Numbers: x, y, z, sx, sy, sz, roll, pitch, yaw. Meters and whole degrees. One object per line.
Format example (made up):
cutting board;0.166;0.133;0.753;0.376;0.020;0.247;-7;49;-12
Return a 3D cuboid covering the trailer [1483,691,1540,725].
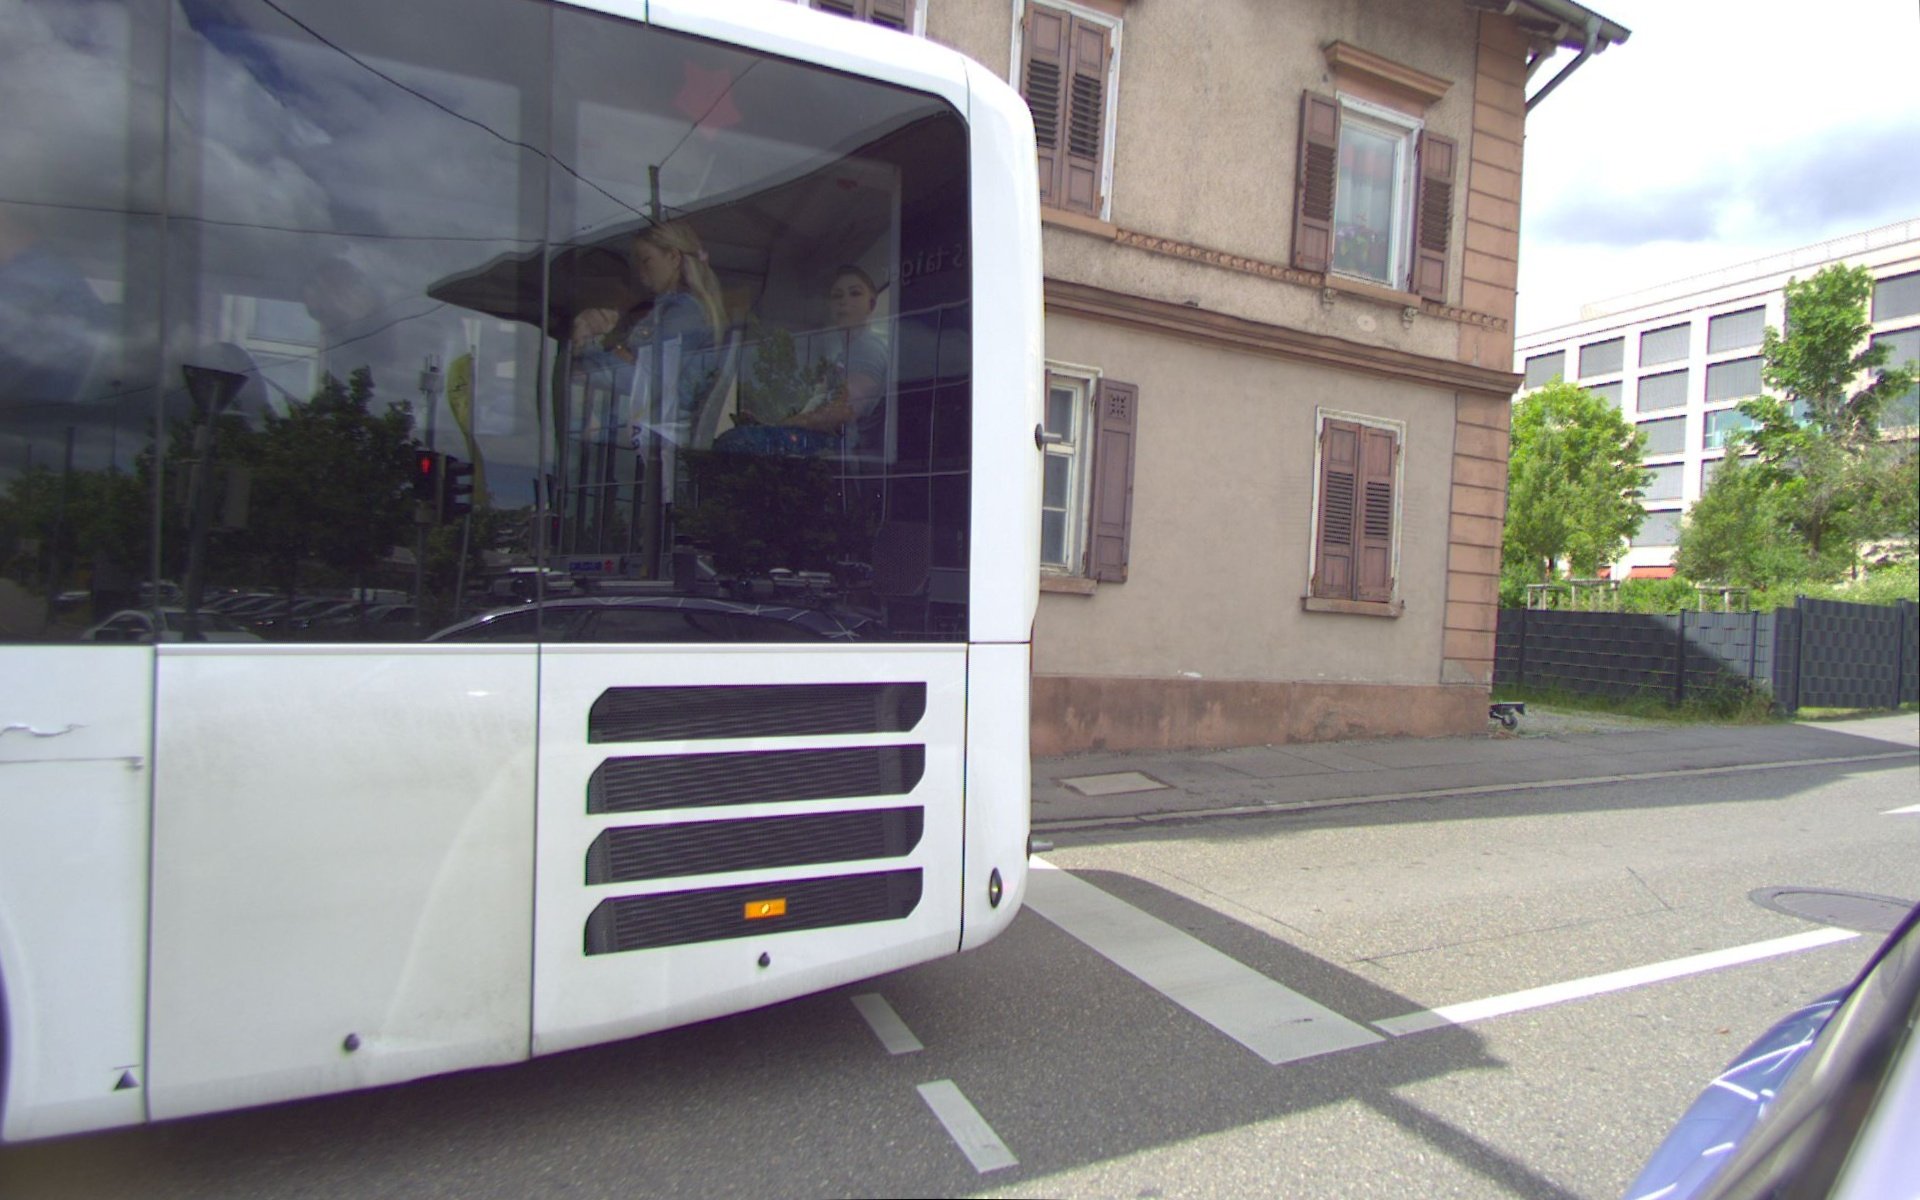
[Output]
trailer;6.146;1.200;11.286;0.468;0.324;0.357;1;0;12

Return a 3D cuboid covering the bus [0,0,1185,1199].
bus;-5.469;-0.498;2.067;12.227;3.554;2.919;0;0;-24
